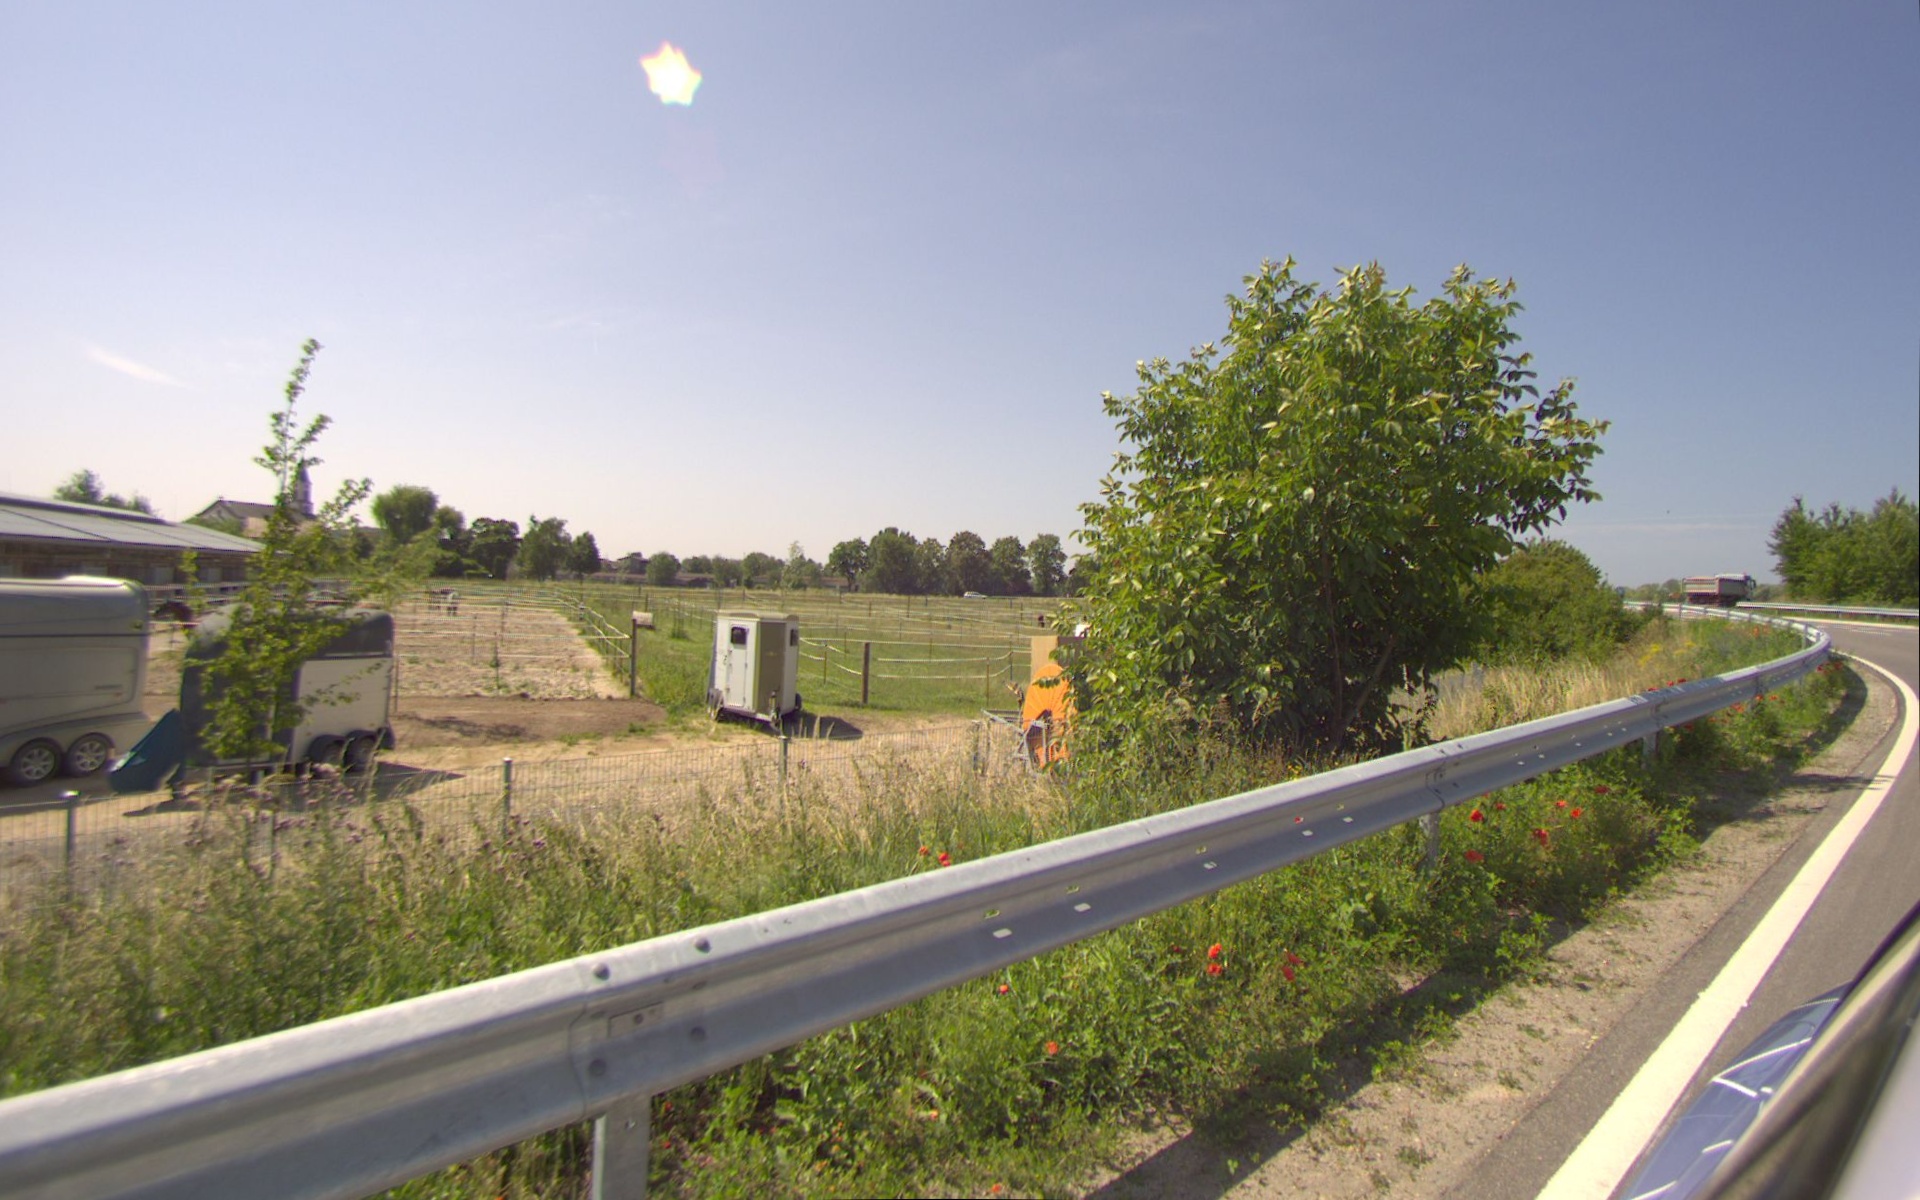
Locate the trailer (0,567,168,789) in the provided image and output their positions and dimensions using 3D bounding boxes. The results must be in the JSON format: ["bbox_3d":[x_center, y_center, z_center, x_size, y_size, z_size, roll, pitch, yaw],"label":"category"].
[{"bbox_3d":[-13.884,1.026,13.611,2.195,2.900,5.039,3,1,4],"label":"trailer"}]

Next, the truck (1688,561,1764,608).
[{"bbox_3d":[61.535,-1.269,81.234,8.042,3.583,2.823,-1,1,-37],"label":"truck"}]

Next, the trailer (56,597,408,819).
[{"bbox_3d":[-10.579,1.379,15.246,1.792,2.661,4.552,5,0,0],"label":"trailer"}]

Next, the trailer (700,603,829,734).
[{"bbox_3d":[-4.916,1.542,24.766,2.162,2.722,5.200,2,0,-20],"label":"trailer"}]

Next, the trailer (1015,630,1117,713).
[{"bbox_3d":[3.316,2.216,32.425,1.965,2.421,4.100,1,-1,-13],"label":"trailer"}]

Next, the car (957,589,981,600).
[{"bbox_3d":[1.686,-1.096,188.829,4.206,2.039,2.002,0,1,-5],"label":"car"}]

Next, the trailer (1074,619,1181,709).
[{"bbox_3d":[5.742,2.137,35.140,2.120,2.840,3.427,1,0,-23],"label":"trailer"}]

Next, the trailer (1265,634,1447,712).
[{"bbox_3d":[14.016,2.487,35.795,5.926,2.409,2.586,0,1,-25],"label":"trailer"}]
